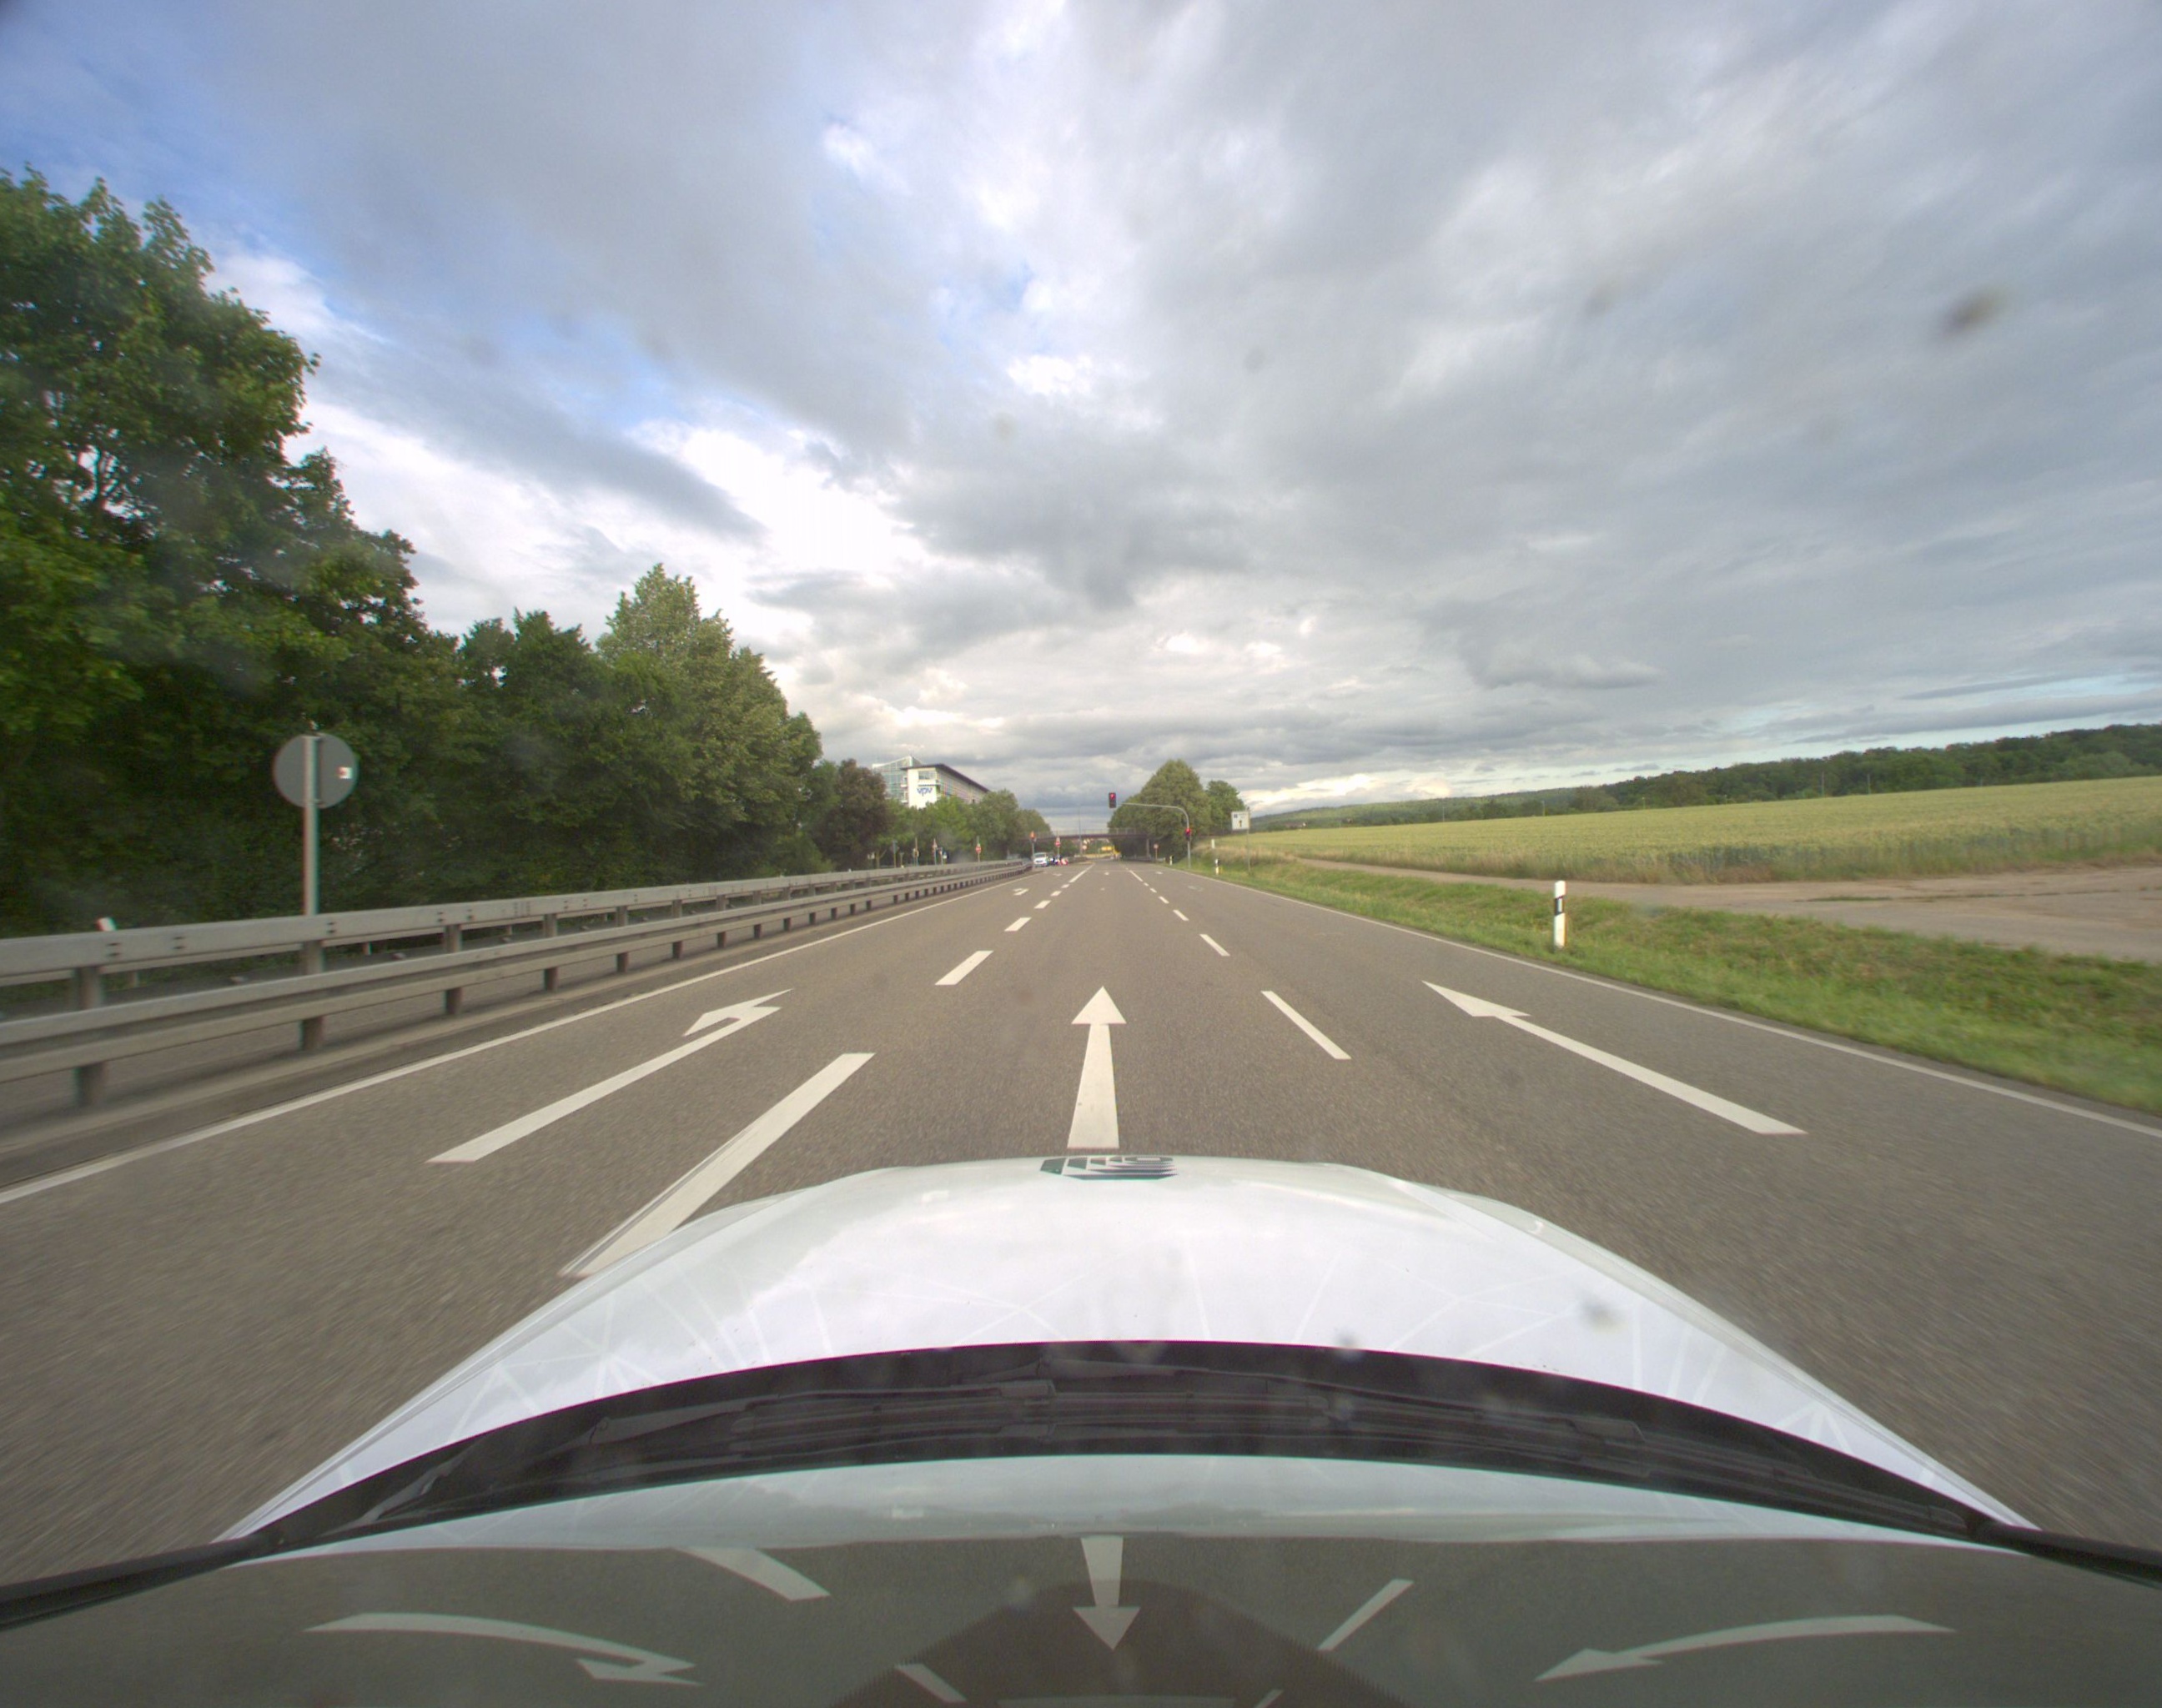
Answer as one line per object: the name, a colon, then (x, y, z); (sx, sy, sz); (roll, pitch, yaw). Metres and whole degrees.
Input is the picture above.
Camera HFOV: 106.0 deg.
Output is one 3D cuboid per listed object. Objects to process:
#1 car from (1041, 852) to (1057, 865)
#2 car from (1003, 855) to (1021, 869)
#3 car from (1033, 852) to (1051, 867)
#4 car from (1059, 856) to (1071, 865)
car: (-4.617, 0.637, 118.087); (1.986, 1.873, 4.739); (-2, 0, 2)
car: (-9.113, 1.014, 108.225); (1.861, 1.754, 4.051); (-2, 0, 2)
car: (-5.218, 0.746, 108.294); (1.941, 1.873, 4.739); (-2, 0, 2)
car: (-2.025, 0.893, 106.267); (1.352, 1.092, 2.924); (-2, 1, 3)
